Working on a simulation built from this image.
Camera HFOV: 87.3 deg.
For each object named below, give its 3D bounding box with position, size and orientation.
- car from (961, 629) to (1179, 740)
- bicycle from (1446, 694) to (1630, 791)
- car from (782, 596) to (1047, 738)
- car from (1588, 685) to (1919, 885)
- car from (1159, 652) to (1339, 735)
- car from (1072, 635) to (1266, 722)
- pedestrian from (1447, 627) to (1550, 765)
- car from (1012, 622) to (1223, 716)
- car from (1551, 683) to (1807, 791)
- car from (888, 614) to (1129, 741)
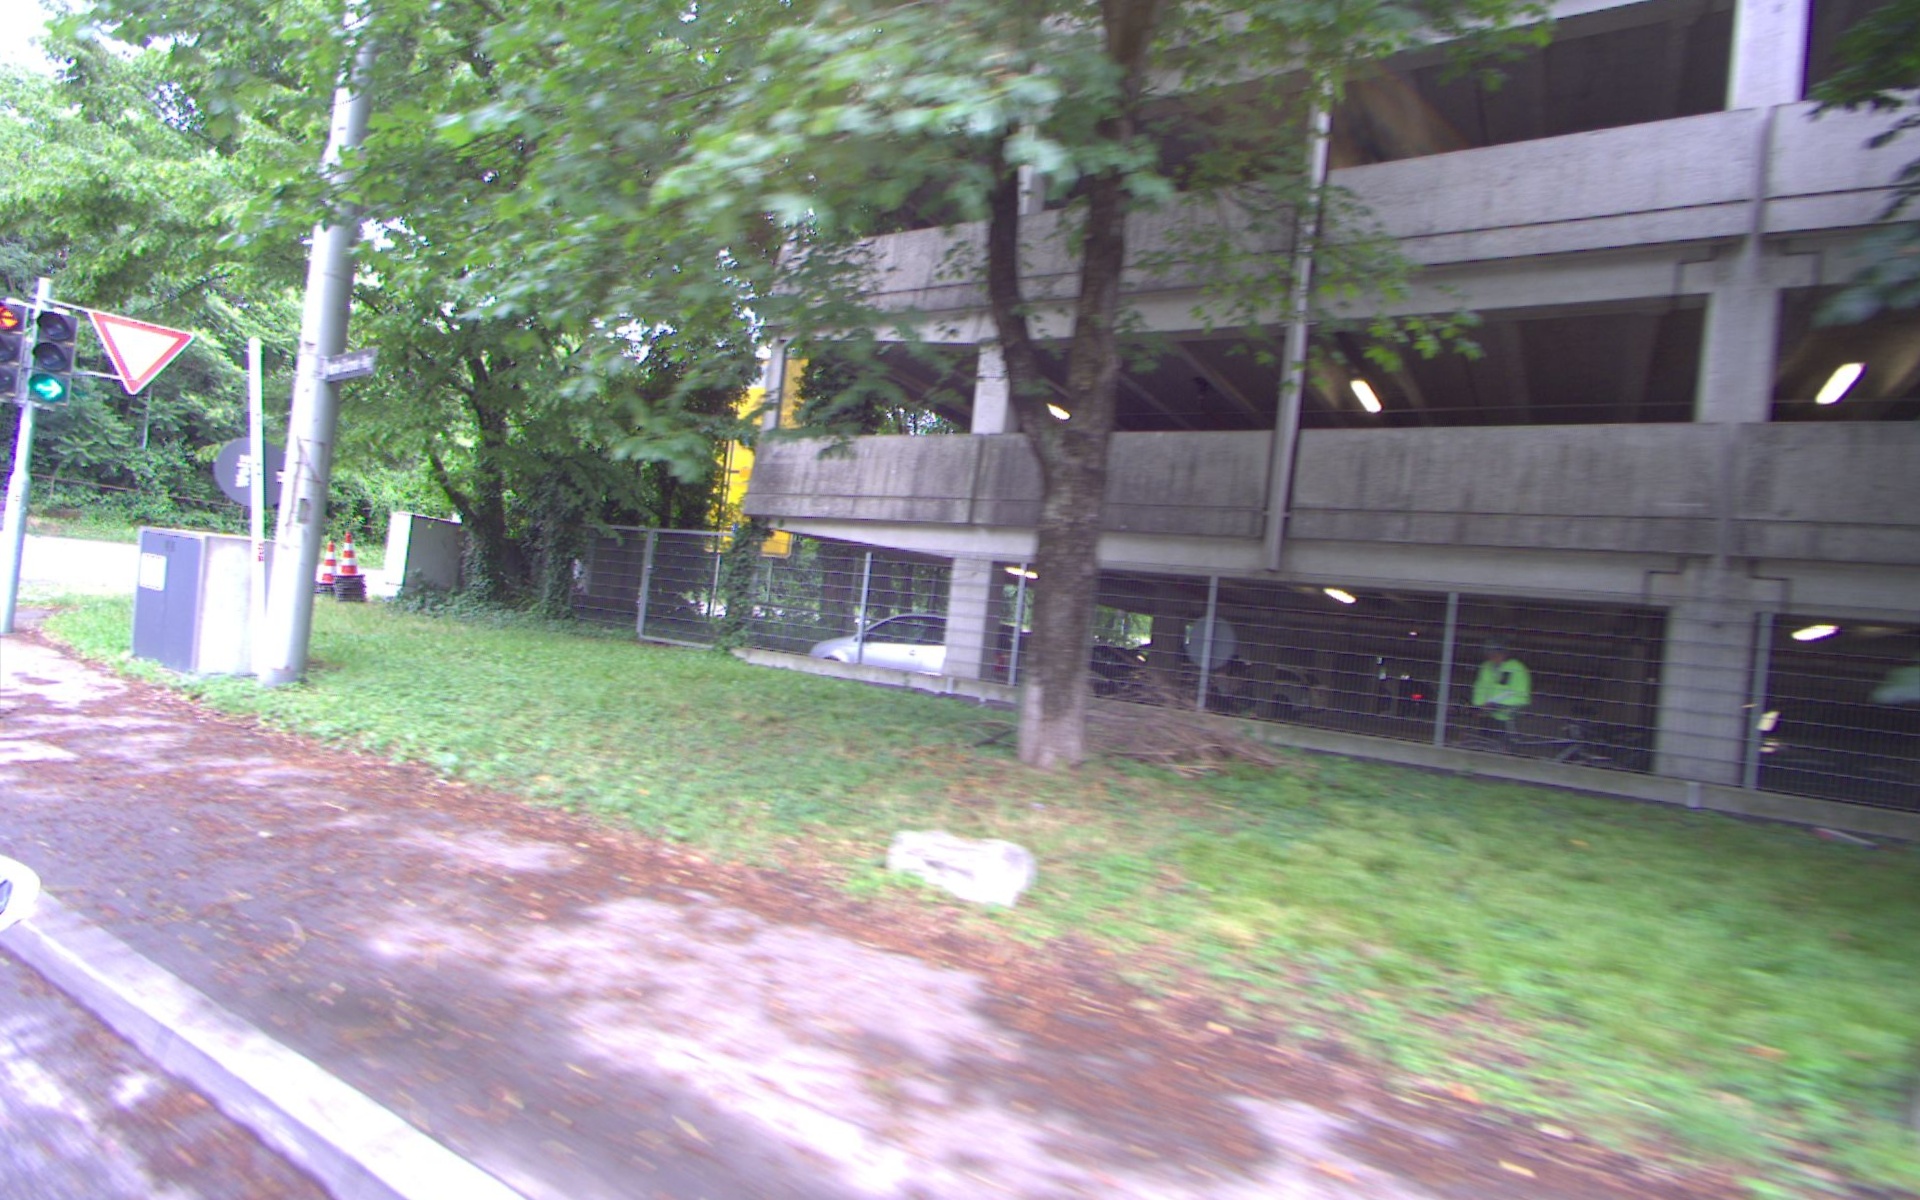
[{"bbox_3d":[2.094,1.597,19.337,3.659,1.682,1.733,4,-4,32],"label":"car"},{"bbox_3d":[5.613,1.372,9.845,1.469,0.744,0.448,5,-3,24],"label":"bicycle"},{"bbox_3d":[-0.725,0.986,15.211,3.659,1.727,1.484,4,-3,32],"label":"car"},{"bbox_3d":[11.122,2.414,13.313,4.598,2.036,1.998,4,-3,31],"label":"car"},{"bbox_3d":[8.592,2.771,30.024,4.659,1.855,1.923,5,-3,33],"label":"car"},{"bbox_3d":[4.896,1.837,23.618,3.935,1.569,1.998,4,-4,32],"label":"car"},{"bbox_3d":[5.591,0.988,10.450,0.636,1.332,0.632,7,-3,-31],"label":"pedestrian"},{"bbox_3d":[3.382,1.482,21.678,3.935,1.569,1.998,4,-4,32],"label":"car"},{"bbox_3d":[14.254,2.697,20.260,3.935,1.585,1.721,4,-4,30],"label":"car"},{"bbox_3d":[0.802,1.303,17.278,3.708,1.727,1.584,4,-3,32],"label":"car"}]
